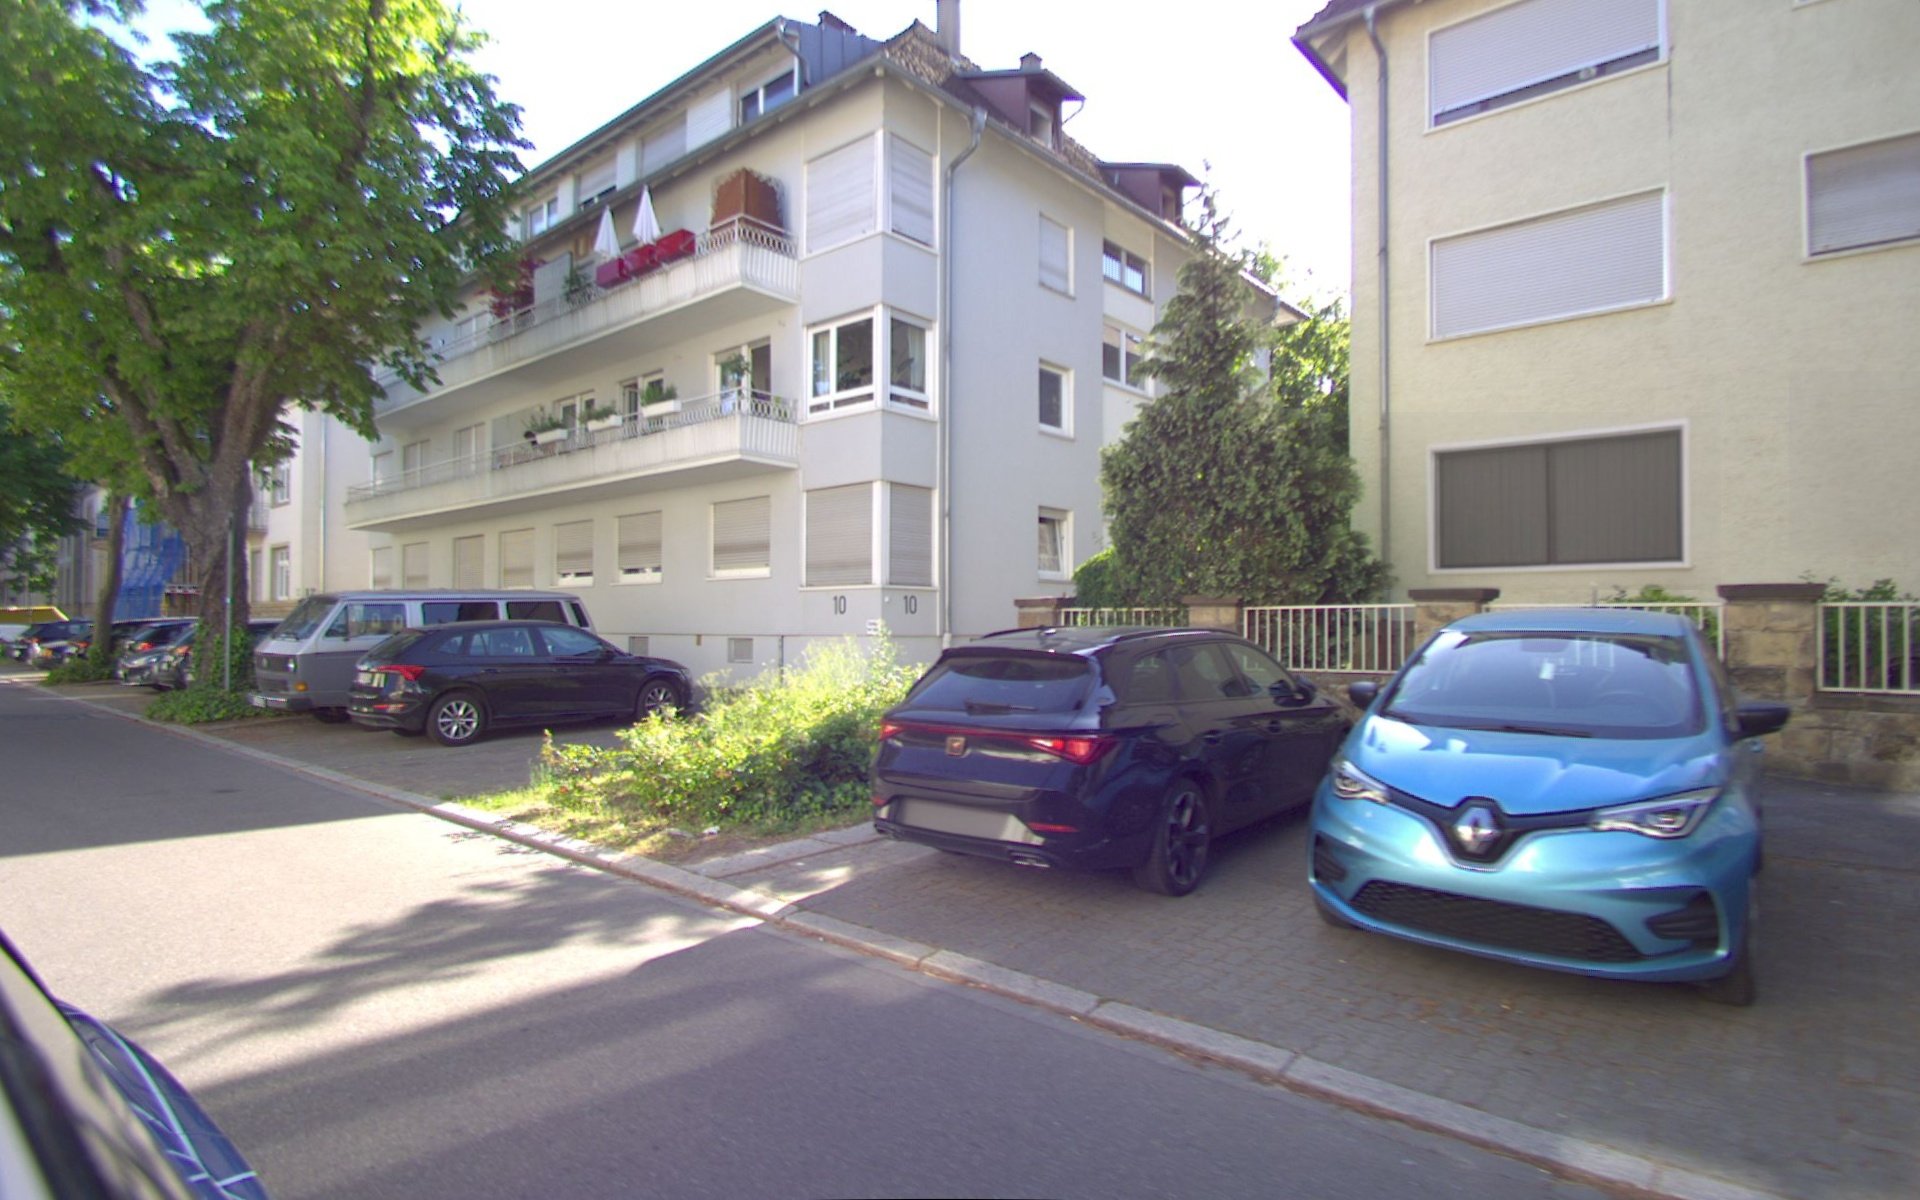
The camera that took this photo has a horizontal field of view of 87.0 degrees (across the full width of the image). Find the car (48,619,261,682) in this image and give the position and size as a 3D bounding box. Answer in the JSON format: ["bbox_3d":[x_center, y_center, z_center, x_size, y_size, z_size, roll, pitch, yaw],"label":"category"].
[{"bbox_3d":[-21.039,1.255,26.579,1.711,1.452,4.146,-1,0,39],"label":"car"}]

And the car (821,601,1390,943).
[{"bbox_3d":[1.242,0.790,6.689,1.860,1.510,4.145,-1,-1,39],"label":"car"}]

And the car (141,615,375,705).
[{"bbox_3d":[-13.743,1.093,19.929,1.797,1.469,3.442,0,1,42],"label":"car"}]

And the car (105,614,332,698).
[{"bbox_3d":[-15.631,1.108,21.454,1.710,1.473,3.605,0,1,43],"label":"car"}]

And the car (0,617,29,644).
[{"bbox_3d":[-53.570,1.697,55.063,1.709,1.411,4.097,-1,0,40],"label":"car"}]

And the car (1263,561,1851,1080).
[{"bbox_3d":[3.261,0.708,5.278,1.876,1.604,3.948,-1,-1,39],"label":"car"}]

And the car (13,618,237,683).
[{"bbox_3d":[-23.048,1.323,28.094,1.831,1.619,4.544,-1,-1,38],"label":"car"}]

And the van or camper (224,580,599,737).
[{"bbox_3d":[-7.838,0.732,14.819,1.963,1.929,4.451,-1,-1,40],"label":"van or camper"}]

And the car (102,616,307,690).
[{"bbox_3d":[-17.449,1.166,23.491,1.707,1.431,3.448,0,1,36],"label":"car"}]

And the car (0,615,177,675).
[{"bbox_3d":[-26.593,1.307,30.879,1.827,1.525,3.842,-1,2,32],"label":"car"}]

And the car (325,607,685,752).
[{"bbox_3d":[-5.717,0.891,13.068,1.662,1.509,3.903,-1,0,43],"label":"car"}]

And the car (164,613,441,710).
[{"bbox_3d":[-11.854,1.036,18.464,1.713,1.425,3.884,-2,0,38],"label":"car"}]
